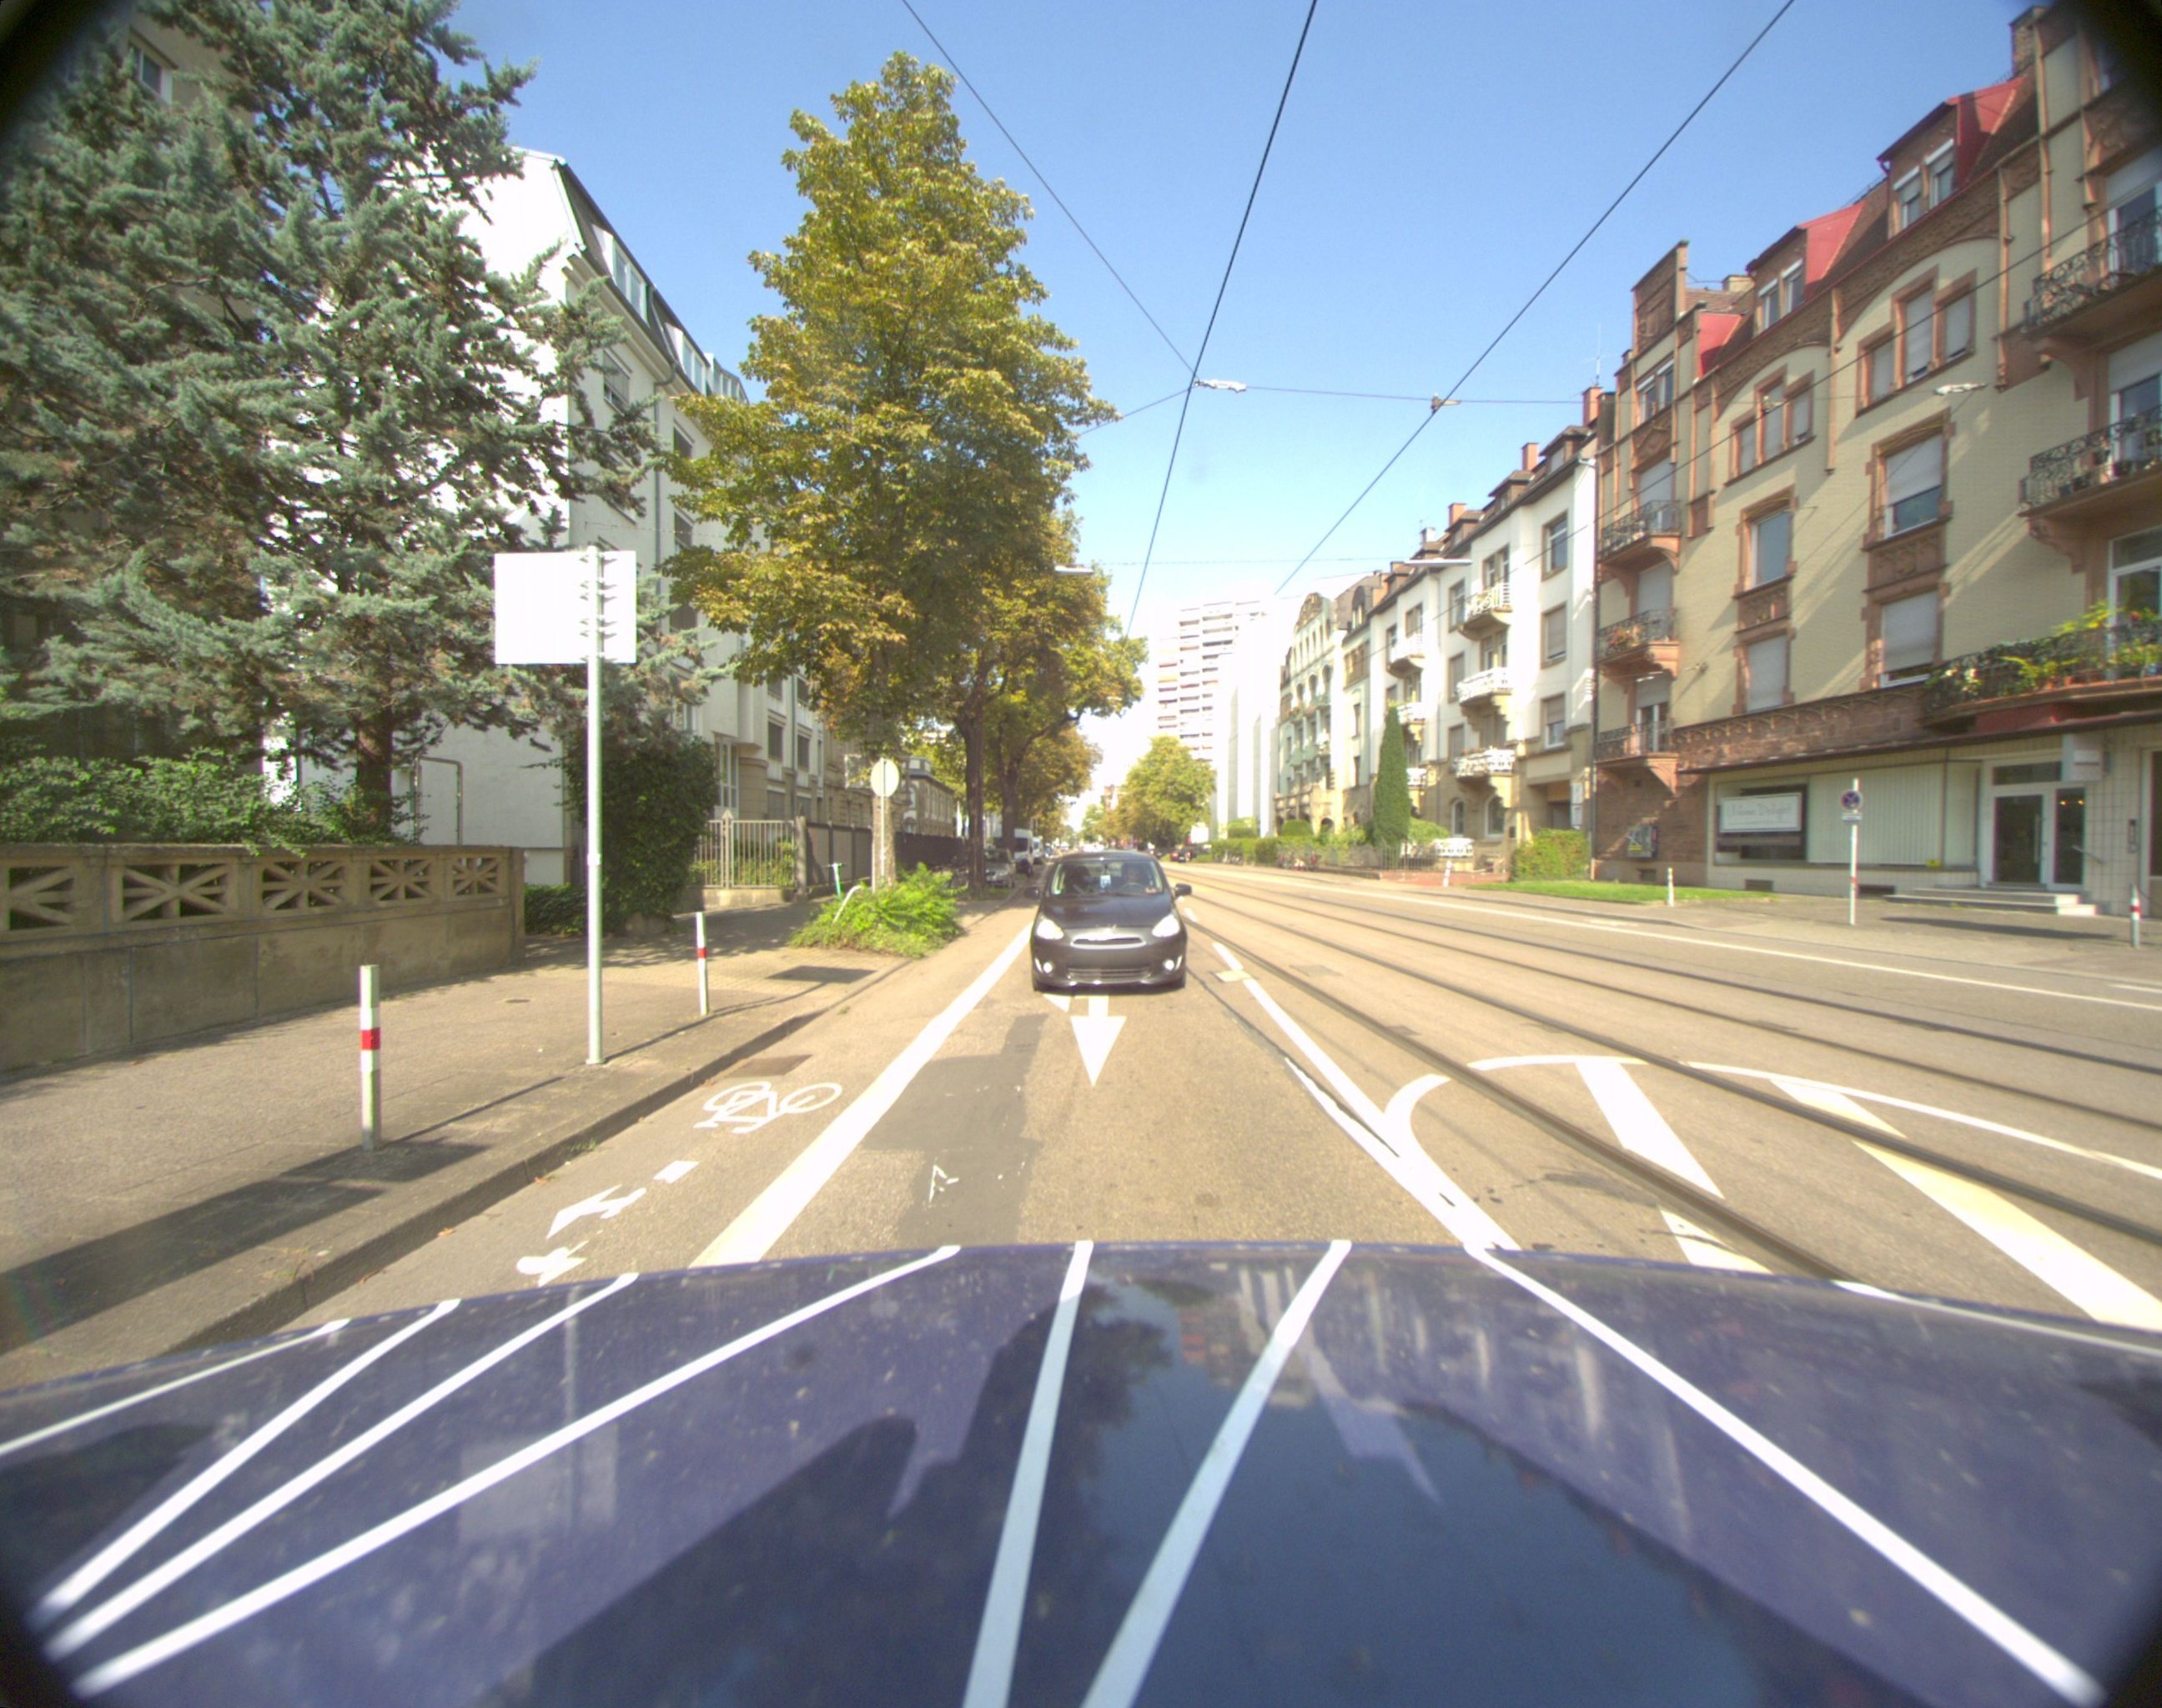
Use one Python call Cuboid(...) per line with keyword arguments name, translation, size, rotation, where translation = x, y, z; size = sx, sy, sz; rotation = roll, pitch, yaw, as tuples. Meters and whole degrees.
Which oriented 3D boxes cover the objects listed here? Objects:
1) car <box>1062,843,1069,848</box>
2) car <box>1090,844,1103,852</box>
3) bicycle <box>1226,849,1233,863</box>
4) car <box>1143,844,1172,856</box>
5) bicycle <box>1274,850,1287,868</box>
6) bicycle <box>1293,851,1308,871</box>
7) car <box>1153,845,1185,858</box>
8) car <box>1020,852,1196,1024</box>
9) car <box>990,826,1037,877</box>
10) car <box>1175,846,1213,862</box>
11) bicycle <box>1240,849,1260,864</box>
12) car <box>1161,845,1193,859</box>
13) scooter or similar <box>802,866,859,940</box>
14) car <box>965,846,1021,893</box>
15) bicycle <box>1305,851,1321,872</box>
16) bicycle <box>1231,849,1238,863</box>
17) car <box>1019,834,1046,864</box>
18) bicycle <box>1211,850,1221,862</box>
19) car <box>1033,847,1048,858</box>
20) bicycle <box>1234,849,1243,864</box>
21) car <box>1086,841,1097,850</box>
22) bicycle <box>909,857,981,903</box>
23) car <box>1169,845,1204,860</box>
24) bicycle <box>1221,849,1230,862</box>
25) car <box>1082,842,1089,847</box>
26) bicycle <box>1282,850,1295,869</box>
Cuboid(name="car", translation=(-4.853, -2.590, 234.467), size=(1.999, 1.572, 4.156), rotation=(0, 1, -5))
Cuboid(name="car", translation=(2.770, -1.112, 136.893), size=(1.878, 1.446, 4.542), rotation=(2, 1, -5))
Cuboid(name="bicycle", translation=(11.593, 0.139, 59.195), size=(0.425, 1.081, 1.677), rotation=(0, 1, 7))
Cuboid(name="car", translation=(9.995, -0.480, 99.072), size=(1.767, 1.518, 4.008), rotation=(1, 1, 40))
Cuboid(name="bicycle", translation=(12.167, 0.301, 46.289), size=(0.371, 1.081, 1.354), rotation=(0, 1, -2))
Cuboid(name="bicycle", translation=(12.066, 0.357, 41.757), size=(0.371, 1.081, 1.354), rotation=(0, 1, -2))
Cuboid(name="car", translation=(10.468, -0.330, 90.234), size=(1.767, 1.518, 4.008), rotation=(1, 1, 40))
Cuboid(name="car", translation=(0.198, 0.778, 9.264), size=(1.611, 1.515, 4.356), rotation=(-1, 1, -1))
Cuboid(name="car", translation=(-3.456, -0.161, 39.950), size=(2.051, 2.484, 6.227), rotation=(1, 1, -1))
Cuboid(name="car", translation=(10.938, -0.051, 73.298), size=(1.767, 1.518, 4.008), rotation=(1, 1, 40))
Cuboid(name="bicycle", translation=(12.315, 0.186, 55.302), size=(1.397, 1.081, 0.425), rotation=(0, 1, -19))
Cuboid(name="car", translation=(11.112, -0.266, 87.398), size=(1.767, 1.518, 4.008), rotation=(1, 1, 40))
Cuboid(name="scooter or similar", translation=(-4.375, 0.834, 13.320), size=(0.559, 1.190, 1.034), rotation=(3, 2, 4))
Cuboid(name="car", translation=(-3.182, 0.521, 28.230), size=(1.611, 1.515, 4.356), rotation=(3, 1, -2))
Cuboid(name="bicycle", translation=(12.200, 0.388, 39.986), size=(0.371, 1.081, 1.487), rotation=(0, 1, -2))
Cuboid(name="bicycle", translation=(11.765, 0.161, 58.390), size=(0.425, 1.081, 1.677), rotation=(0, 1, 7))
Cuboid(name="car", translation=(-4.219, -0.449, 66.911), size=(1.999, 2.526, 5.866), rotation=(2, 1, -1))
Cuboid(name="bicycle", translation=(11.456, 0.159, 64.537), size=(0.425, 0.972, 1.769), rotation=(0, 1, -3))
Cuboid(name="car", translation=(-5.080, -0.221, 95.250), size=(1.758, 1.349, 3.786), rotation=(0, 1, -3))
Cuboid(name="bicycle", translation=(11.670, 0.203, 56.291), size=(0.425, 1.081, 1.676), rotation=(0, 1, 3))
Cuboid(name="car", translation=(2.353, -1.806, 168.778), size=(1.999, 2.002, 4.856), rotation=(0, 1, -5))
Cuboid(name="bicycle", translation=(-3.651, 0.695, 20.530), size=(1.846, 1.160, 0.503), rotation=(2, 5, -41))
Cuboid(name="car", translation=(11.114, -0.174, 79.933), size=(1.767, 1.518, 4.008), rotation=(1, 1, 40))
Cuboid(name="bicycle", translation=(11.663, 0.109, 61.208), size=(0.425, 1.081, 1.676), rotation=(0, 1, 1))
Cuboid(name="car", translation=(1.202, -2.669, 221.321), size=(1.701, 1.395, 4.644), rotation=(-1, 1, -3))
Cuboid(name="bicycle", translation=(12.163, 0.315, 44.518), size=(0.371, 1.081, 1.354), rotation=(0, 1, -2))
